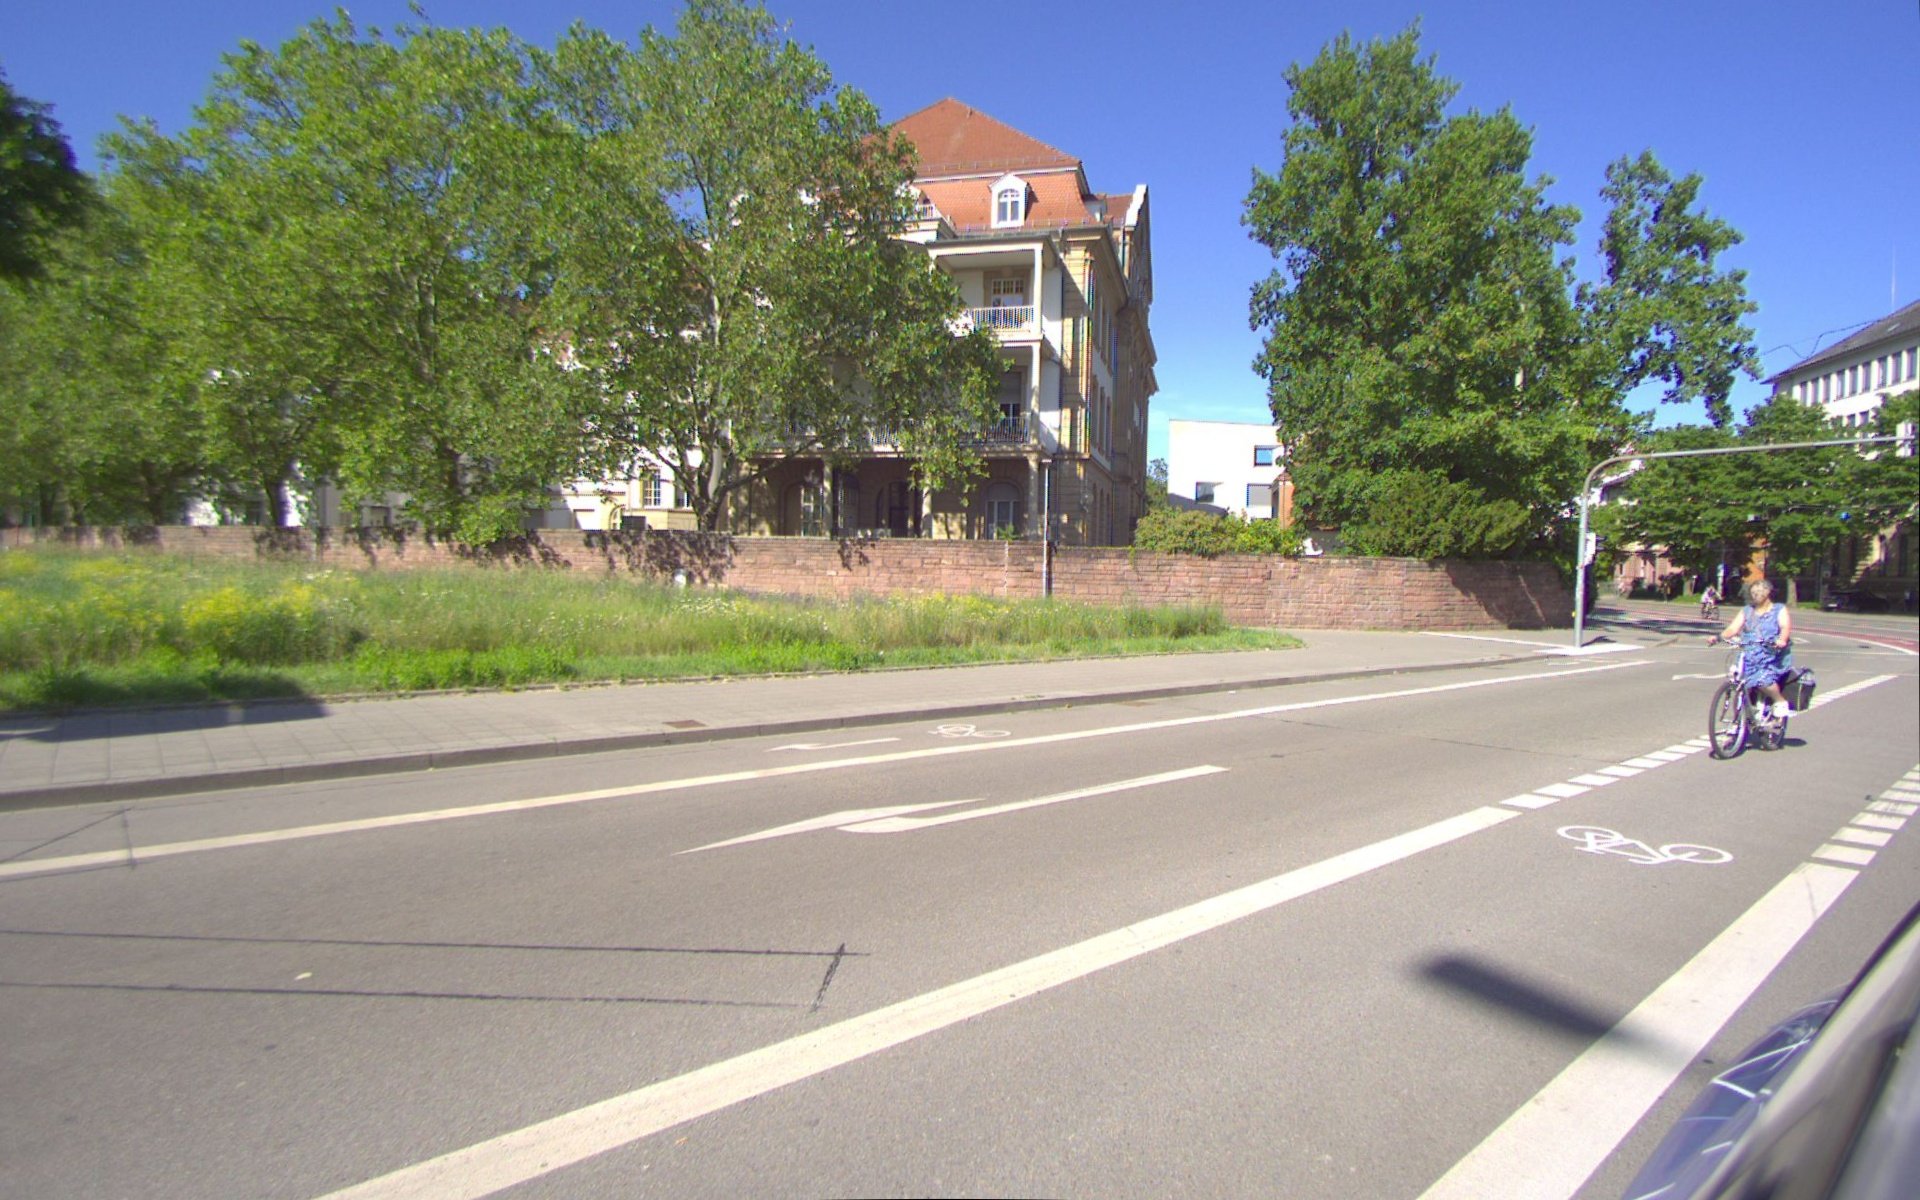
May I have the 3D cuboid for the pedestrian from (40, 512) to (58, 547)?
[{"bbox_3d":[-44.099,-3.421,48.973,0.642,1.631,0.557,0,0,-42],"label":"pedestrian"}]

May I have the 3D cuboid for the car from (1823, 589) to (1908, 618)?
[{"bbox_3d":[60.925,0.216,68.151,3.731,1.838,1.999,1,2,3],"label":"car"}]

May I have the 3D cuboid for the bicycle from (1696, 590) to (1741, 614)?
[{"bbox_3d":[39.086,0.072,52.160,0.764,1.179,1.968,1,1,-1],"label":"bicycle"}]

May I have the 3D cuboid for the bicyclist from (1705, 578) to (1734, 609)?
[{"bbox_3d":[39.089,-0.363,52.087,0.764,1.571,0.920,1,1,-1],"label":"bicyclist"}]

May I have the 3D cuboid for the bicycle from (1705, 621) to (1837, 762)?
[{"bbox_3d":[7.837,0.821,9.749,1.933,1.179,0.642,0,1,-41],"label":"bicycle"}]

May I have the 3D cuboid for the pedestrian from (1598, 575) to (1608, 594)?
[{"bbox_3d":[56.150,-1.357,88.350,0.630,1.631,0.838,0,0,27],"label":"pedestrian"}]

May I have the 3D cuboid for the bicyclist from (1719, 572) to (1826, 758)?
[{"bbox_3d":[7.781,0.577,9.694,0.763,1.683,0.642,-1,2,-40],"label":"bicyclist"}]
